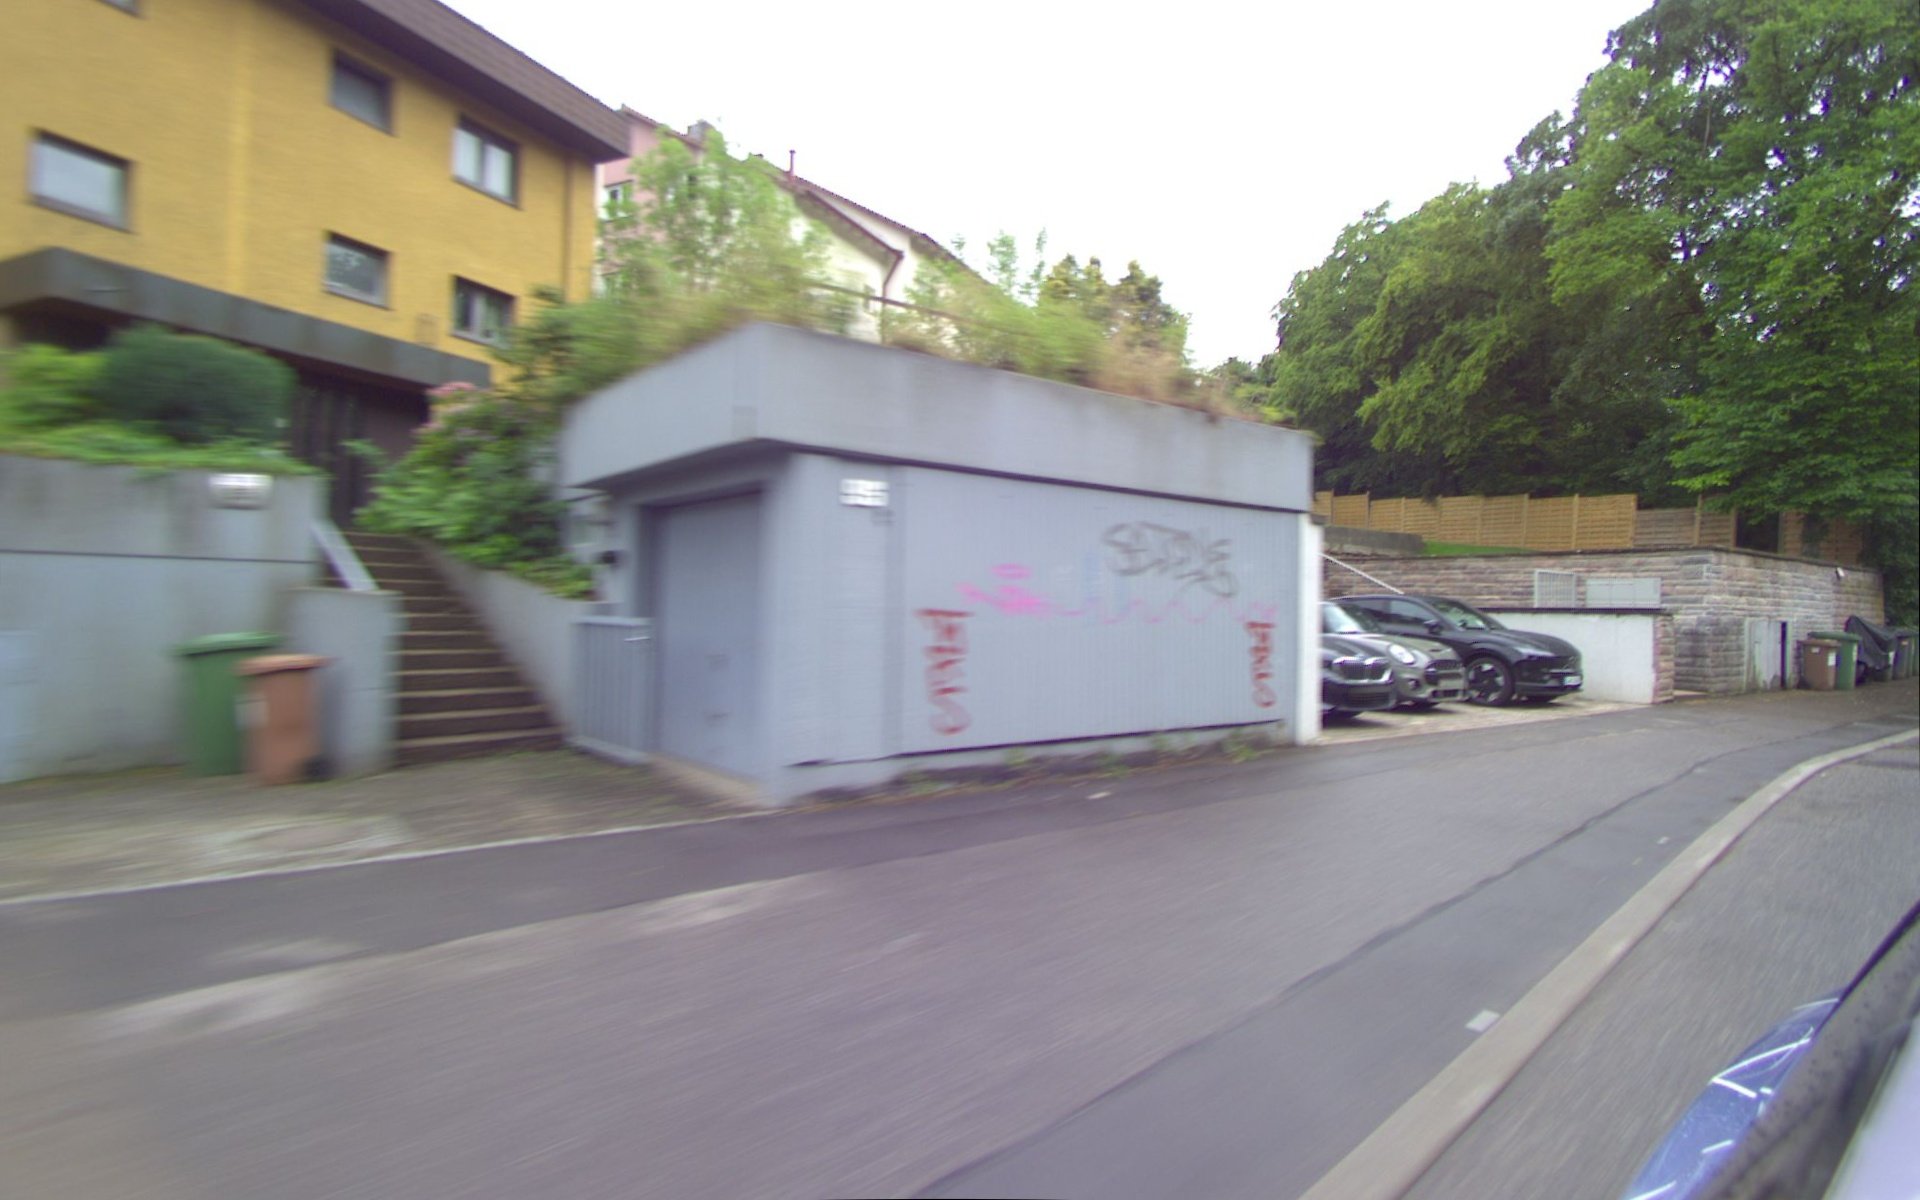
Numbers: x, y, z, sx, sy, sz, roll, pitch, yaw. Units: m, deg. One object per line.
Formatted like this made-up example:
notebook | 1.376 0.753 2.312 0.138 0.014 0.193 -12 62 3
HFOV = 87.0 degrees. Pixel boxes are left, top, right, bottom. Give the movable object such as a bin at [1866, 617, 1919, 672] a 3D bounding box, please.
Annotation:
movable object such as a bin | 18.951 0.894 20.547 0.647 1.082 0.667 0 -2 -35

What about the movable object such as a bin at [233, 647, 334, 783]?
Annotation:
movable object such as a bin | -4.956 0.816 7.416 0.555 0.918 0.528 0 -1 -41

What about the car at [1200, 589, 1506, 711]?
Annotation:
car | 5.431 0.595 14.343 1.802 1.444 3.646 0 1 -36

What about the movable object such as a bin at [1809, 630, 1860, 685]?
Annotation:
movable object such as a bin | 15.838 1.031 18.328 0.539 0.949 0.570 0 -2 -35

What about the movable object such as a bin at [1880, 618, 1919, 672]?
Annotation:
movable object such as a bin | 19.622 0.917 20.978 0.647 1.082 0.667 0 -2 -35

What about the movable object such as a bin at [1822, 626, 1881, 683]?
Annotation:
movable object such as a bin | 16.468 0.999 18.697 0.647 1.017 0.667 0 -2 -35

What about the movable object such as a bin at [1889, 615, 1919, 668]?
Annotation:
movable object such as a bin | 20.209 0.869 21.416 0.688 1.082 0.667 0 -2 -35

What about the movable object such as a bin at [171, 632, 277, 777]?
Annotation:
movable object such as a bin | -5.715 0.780 7.864 0.625 1.049 0.528 0 -1 -41

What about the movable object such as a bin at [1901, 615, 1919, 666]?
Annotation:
movable object such as a bin | 20.881 0.878 21.862 0.688 1.082 0.667 0 -2 -35

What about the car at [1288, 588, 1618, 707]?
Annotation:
car | 7.458 0.609 15.705 1.859 1.526 4.232 0 1 -35

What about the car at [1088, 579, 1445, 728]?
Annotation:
car | 3.658 0.543 12.797 1.920 1.534 4.051 1 0 -32

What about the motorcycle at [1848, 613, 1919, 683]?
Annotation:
motorcycle | 17.872 0.900 19.424 1.975 1.261 0.778 0 -1 -35
